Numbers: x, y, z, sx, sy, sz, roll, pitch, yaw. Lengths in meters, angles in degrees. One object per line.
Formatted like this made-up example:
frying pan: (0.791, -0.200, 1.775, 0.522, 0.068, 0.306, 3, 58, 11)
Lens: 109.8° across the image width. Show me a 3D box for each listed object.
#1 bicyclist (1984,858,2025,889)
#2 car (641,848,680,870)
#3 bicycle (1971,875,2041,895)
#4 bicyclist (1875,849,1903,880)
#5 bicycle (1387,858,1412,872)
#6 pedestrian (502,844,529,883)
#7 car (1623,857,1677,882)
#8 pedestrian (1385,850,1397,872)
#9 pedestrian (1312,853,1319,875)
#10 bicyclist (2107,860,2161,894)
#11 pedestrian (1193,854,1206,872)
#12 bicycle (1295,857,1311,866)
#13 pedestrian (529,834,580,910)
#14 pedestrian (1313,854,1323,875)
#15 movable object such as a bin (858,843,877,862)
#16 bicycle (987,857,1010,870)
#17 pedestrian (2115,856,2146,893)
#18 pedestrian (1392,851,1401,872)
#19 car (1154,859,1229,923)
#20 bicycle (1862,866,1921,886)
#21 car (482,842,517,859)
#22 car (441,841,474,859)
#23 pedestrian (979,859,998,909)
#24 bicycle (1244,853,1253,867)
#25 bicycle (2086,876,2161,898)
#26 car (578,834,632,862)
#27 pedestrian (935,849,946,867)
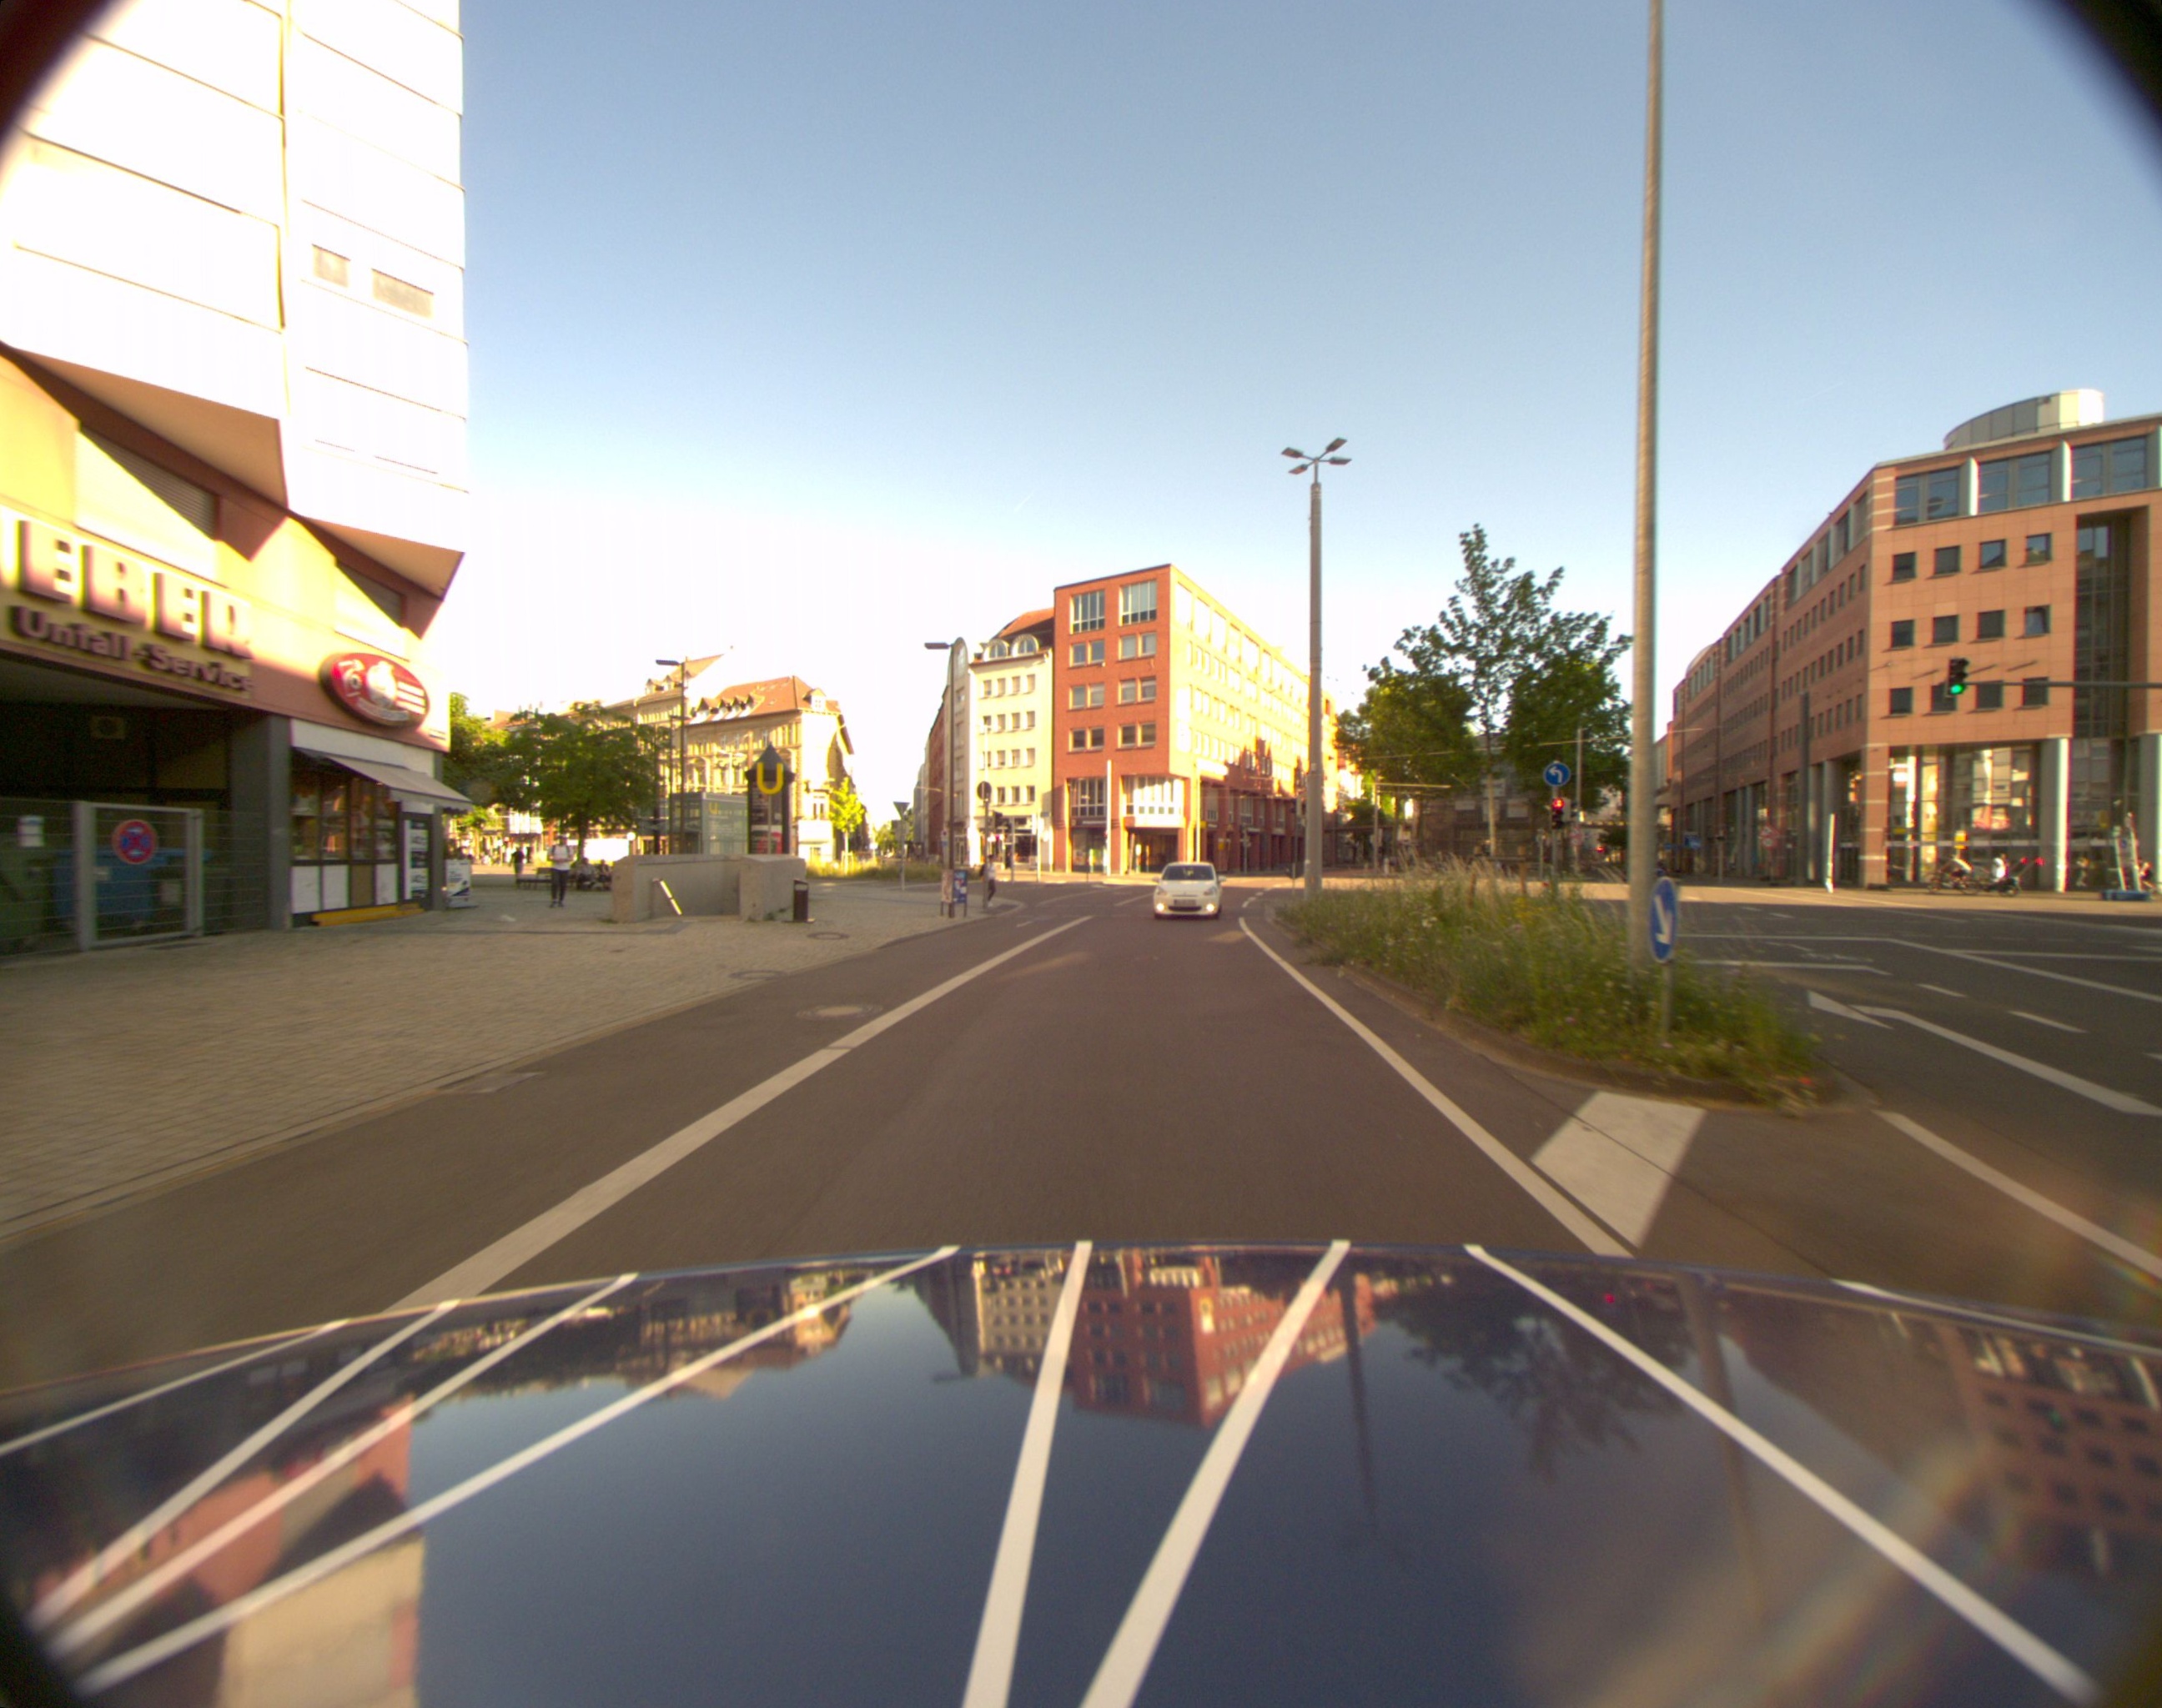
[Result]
bicyclist: (39.404, 0.835, 32.422, 0.956, 1.304, 0.617, 0, 1, 8)
car: (-44.074, 0.472, 79.544, 3.917, 2.169, 1.815, 1, 2, 31)
bicycle: (39.442, 1.313, 32.421, 2.016, 0.803, 0.617, -1, 0, 8)
bicyclist: (39.417, 0.500, 37.077, 0.583, 1.476, 0.748, 0, 0, -11)
bicycle: (25.565, 0.895, 61.015, 1.830, 1.072, 0.482, 0, 1, 31)
pedestrian: (-25.908, 0.427, 34.799, 0.681, 1.736, 0.719, 0, 1, 20)
car: (34.205, 0.896, 45.776, 1.834, 1.378, 4.604, 0, 1, 27)
pedestrian: (24.595, 0.582, 60.254, 0.778, 1.724, 0.850, 0, 1, 27)
pedestrian: (18.901, 0.779, 61.273, 0.476, 1.782, 0.542, 0, 1, 30)
bicyclist: (42.134, 0.920, 30.417, 1.019, 1.332, 0.781, 0, 1, 28)
pedestrian: (10.270, 0.772, 65.875, 0.846, 1.580, 0.754, -1, 1, -9)
bicycle: (25.510, 0.902, 87.201, 1.612, 0.949, 0.556, 3, 2, 32)
pedestrian: (-13.130, 0.436, 18.948, 1.042, 1.855, 0.689, 0, 1, 33)
pedestrian: (19.308, 0.838, 61.929, 0.634, 1.715, 0.631, 0, 1, 30)
movable object such as a bin: (-20.982, -0.131, 74.608, 1.651, 1.773, 1.399, -2, 0, -18)
bicycle: (-6.459, 0.745, 59.264, 1.861, 0.985, 0.460, 0, 3, 30)
pedestrian: (44.003, 0.854, 31.865, 0.489, 1.527, 0.563, 0, 1, 13)
pedestrian: (25.228, 0.588, 60.794, 0.566, 1.670, 0.532, 0, 1, 32)
car: (2.927, 0.926, 20.578, 1.807, 1.492, 4.202, 0, 0, 6)
bicycle: (39.428, 1.051, 37.013, 0.583, 0.907, 1.963, 0, 0, -10)
car: (-75.670, -0.489, 98.903, 4.332, 2.002, 2.239, -2, 0, 33)
car: (-86.249, -0.557, 105.091, 4.332, 2.369, 2.239, -2, 0, 33)
pedestrian: (-2.979, 0.948, 24.538, 0.541, 1.574, 0.556, -1, 1, -12)
bicycle: (15.869, 0.573, 71.902, 0.340, 1.248, 1.713, 0, 1, 32)
bicycle: (42.082, 1.316, 30.461, 2.014, 0.803, 0.781, 0, 0, 28)
car: (-53.035, -0.678, 84.671, 5.353, 3.005, 2.282, 0, 2, 21)
pedestrian: (-13.068, 0.393, 70.532, 0.694, 1.628, 0.959, -2, 2, -29)
